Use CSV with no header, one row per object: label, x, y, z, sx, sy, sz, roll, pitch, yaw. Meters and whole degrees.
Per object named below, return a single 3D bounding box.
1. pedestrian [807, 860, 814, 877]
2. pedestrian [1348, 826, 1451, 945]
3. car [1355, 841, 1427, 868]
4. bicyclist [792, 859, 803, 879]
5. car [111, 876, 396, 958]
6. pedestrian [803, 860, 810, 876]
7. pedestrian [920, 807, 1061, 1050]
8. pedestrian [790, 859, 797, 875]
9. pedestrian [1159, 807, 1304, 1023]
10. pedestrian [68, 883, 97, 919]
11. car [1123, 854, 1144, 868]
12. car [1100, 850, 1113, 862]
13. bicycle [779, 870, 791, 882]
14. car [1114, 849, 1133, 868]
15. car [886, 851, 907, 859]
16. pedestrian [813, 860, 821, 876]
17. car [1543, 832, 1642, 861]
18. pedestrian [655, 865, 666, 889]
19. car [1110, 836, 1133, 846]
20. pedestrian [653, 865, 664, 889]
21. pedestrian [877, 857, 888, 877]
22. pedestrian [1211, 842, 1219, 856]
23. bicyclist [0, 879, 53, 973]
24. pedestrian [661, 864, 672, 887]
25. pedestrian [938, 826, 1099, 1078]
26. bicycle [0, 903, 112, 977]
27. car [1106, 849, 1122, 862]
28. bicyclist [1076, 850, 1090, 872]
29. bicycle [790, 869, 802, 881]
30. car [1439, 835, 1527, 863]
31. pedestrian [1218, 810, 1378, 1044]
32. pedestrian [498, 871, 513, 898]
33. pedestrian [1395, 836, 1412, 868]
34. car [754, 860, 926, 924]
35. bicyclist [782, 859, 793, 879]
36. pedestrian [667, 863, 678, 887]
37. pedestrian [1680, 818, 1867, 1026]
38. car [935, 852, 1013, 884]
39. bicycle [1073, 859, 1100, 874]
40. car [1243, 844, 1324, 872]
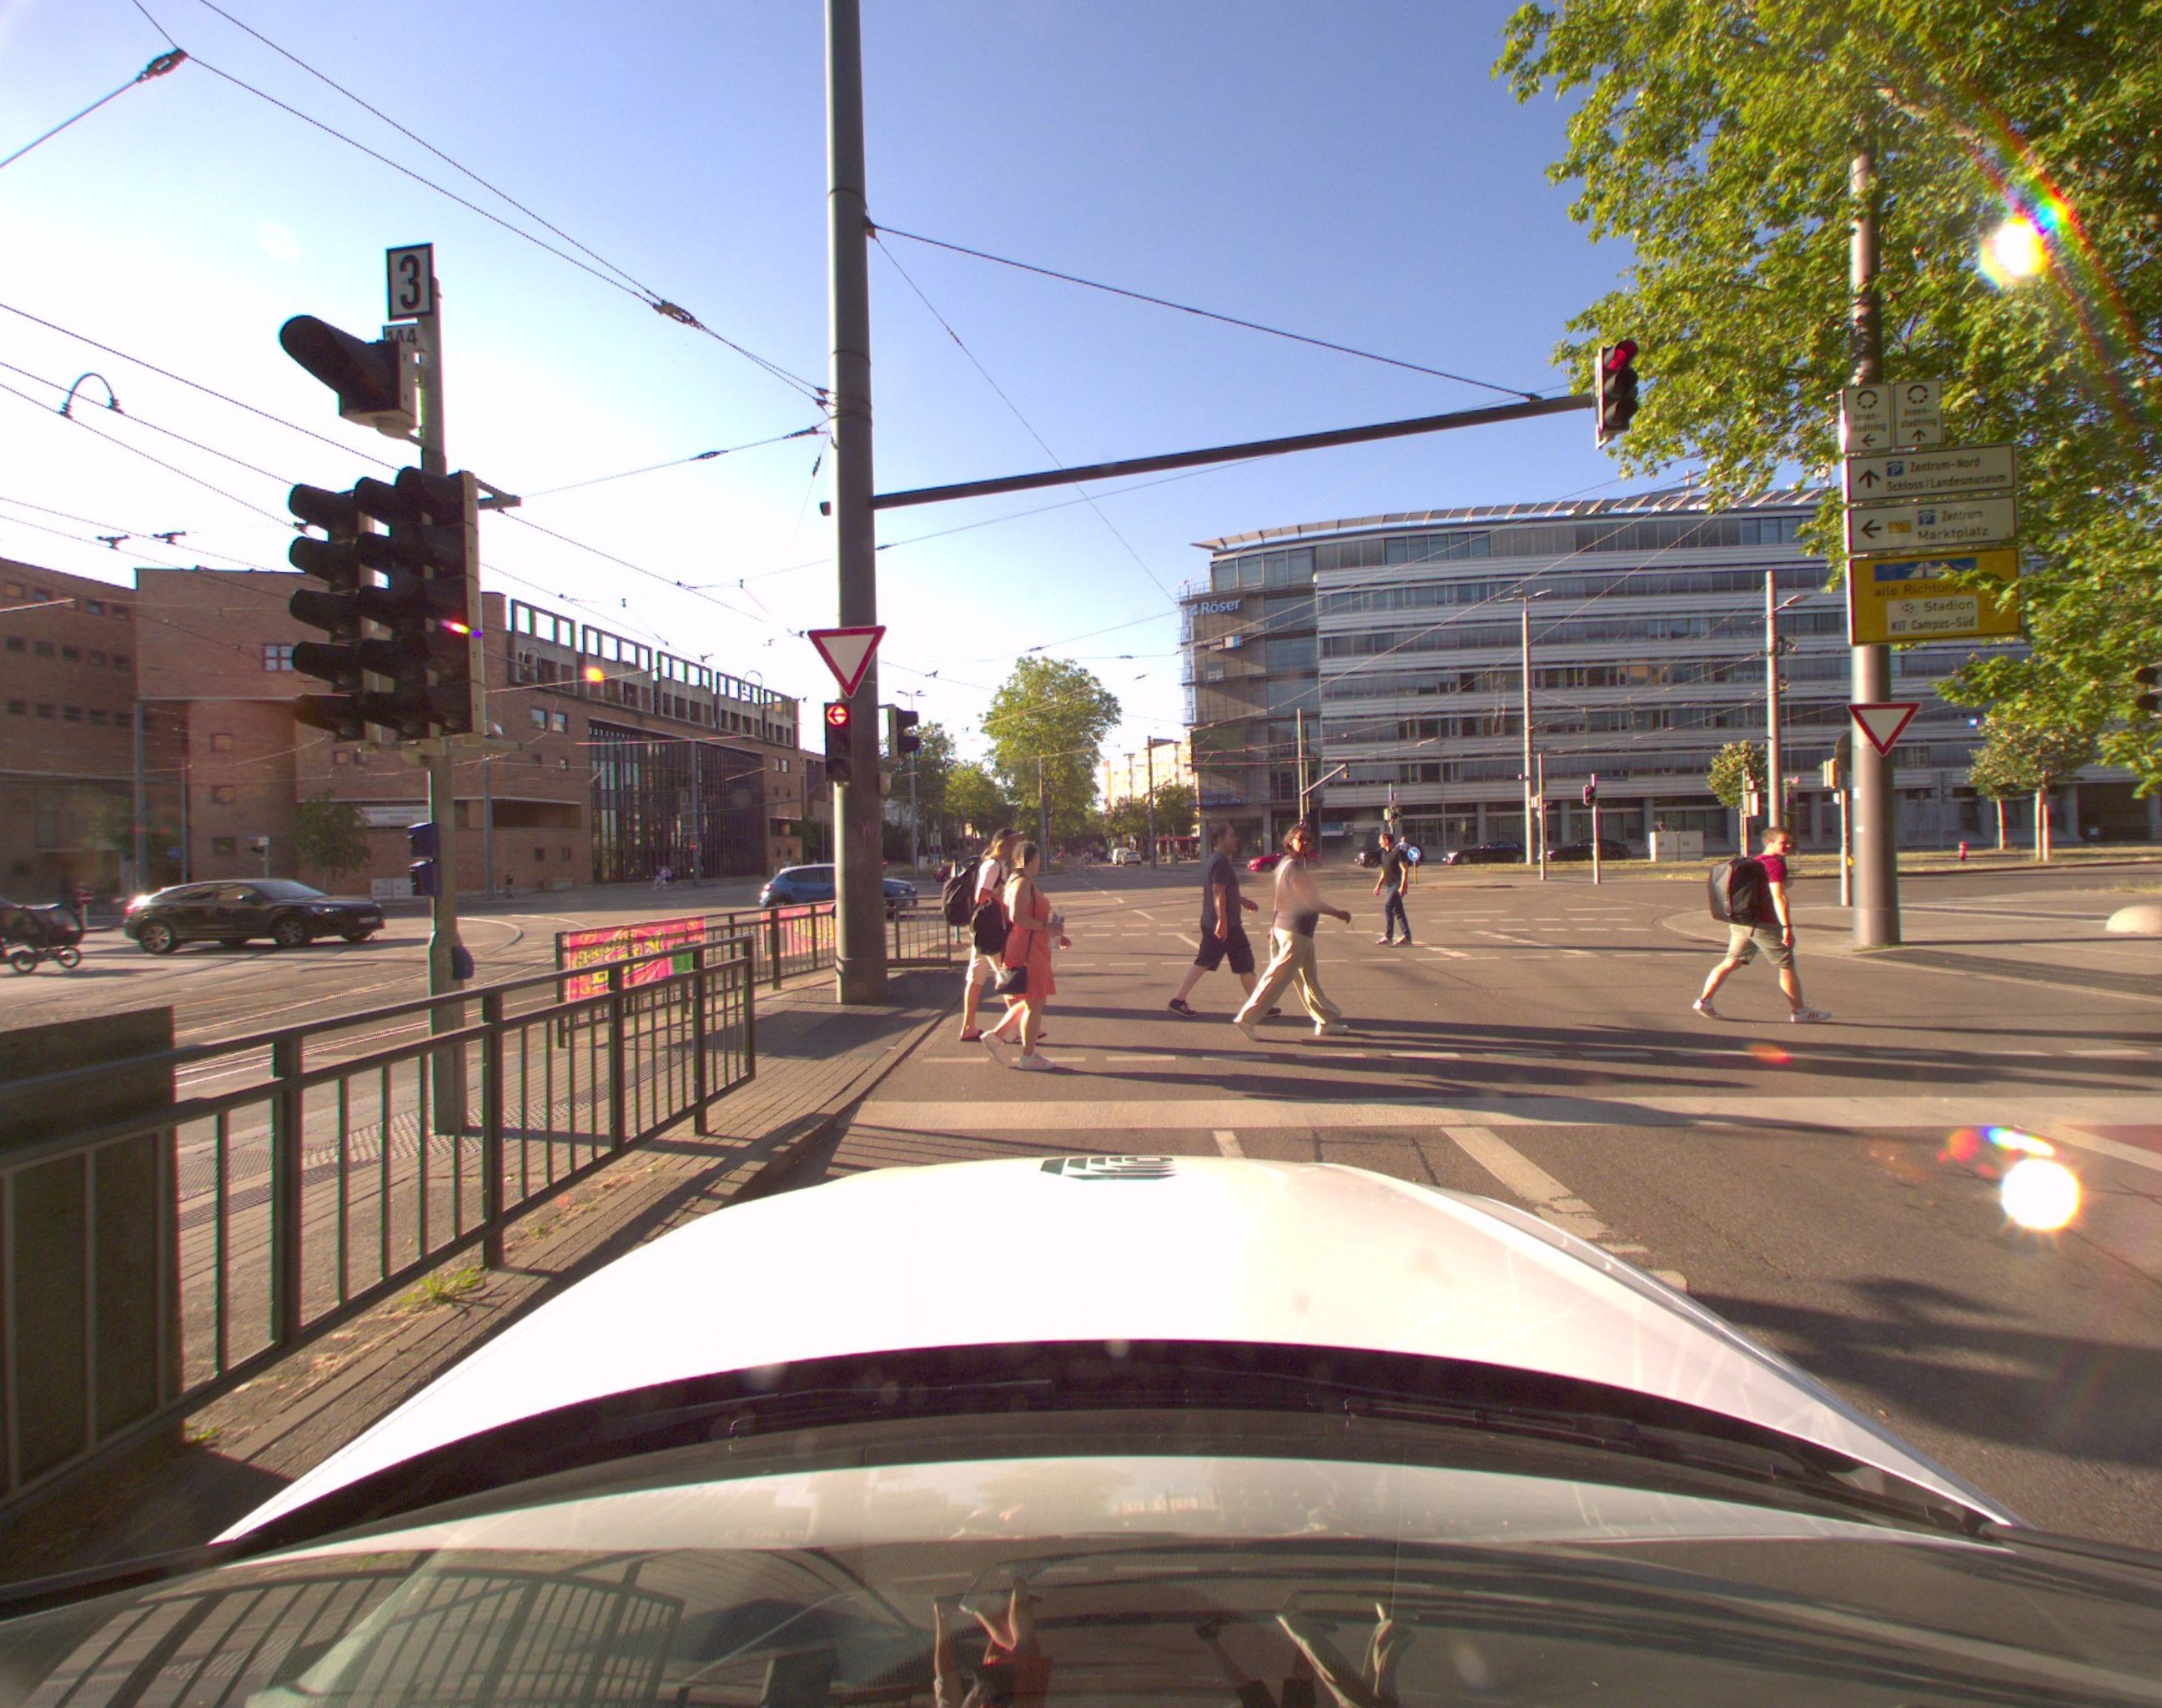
pedestrian,-29.668,1.579,89.356,0.519,1.779,0.547,-2,0,9
pedestrian,5.056,0.484,13.015,1.206,1.822,1.040,0,-1,-4
car,19.558,0.036,51.460,3.844,1.507,1.797,-2,0,3
bicyclist,-23.536,1.236,67.608,0.592,1.675,0.788,-2,0,-4
car,-18.643,1.391,18.509,4.469,1.583,1.824,-2,0,-2
pedestrian,-30.594,1.571,90.674,0.487,1.810,0.547,-2,0,9
pedestrian,-0.734,0.575,6.721,1.072,1.871,0.737,-1,-1,-6
pedestrian,-31.477,1.413,89.266,0.487,1.810,0.547,-2,0,9
pedestrian,1.380,0.533,7.643,1.143,1.893,0.831,-1,-1,-6
pedestrian,-45.826,2.141,37.382,0.542,1.613,0.613,0,1,-3
car,5.387,0.682,83.930,1.986,1.332,4.002,-2,0,2
car,4.052,0.297,127.864,1.986,1.662,4.002,-2,0,2
bicycle,-24.447,1.800,67.264,0.512,0.881,1.835,-2,0,-6
car,4.691,0.471,90.791,1.986,1.991,4.002,-2,0,2
car,-39.638,0.183,175.008,4.011,1.552,1.592,0,-1,-30
pedestrian,-29.426,1.566,90.677,0.637,1.810,0.547,-2,0,8
car,27.885,-0.410,44.482,4.219,1.392,1.799,-2,0,6
pedestrian,-30.295,1.660,58.632,0.538,1.650,0.622,-2,0,-17
car,7.098,-2.263,142.377,3.732,1.750,1.789,0,-1,16
pedestrian,-29.785,1.595,57.378,0.538,1.650,0.622,-2,0,-17
pedestrian,-15.531,1.022,63.785,0.753,1.530,0.507,-1,0,-6
pedestrian,14.396,-0.495,87.458,0.734,1.465,0.538,-2,0,11
bicyclist,-20.002,1.327,15.121,0.901,1.681,0.691,-2,0,0
pedestrian,-30.240,1.545,59.390,0.538,1.650,0.622,-2,0,-17
pedestrian,-0.451,0.655,5.897,1.071,1.682,0.756,-1,-1,-6
bicycle,-19.762,1.598,15.131,2.150,1.226,1.072,-2,1,0
car,4.322,0.202,106.126,1.986,1.662,4.002,-2,0,2
bicyclist,0.131,0.467,53.663,0.817,1.366,0.400,-2,0,-3
bicycle,-23.626,1.751,67.550,0.512,0.881,1.835,-2,0,-6
car,23.418,-0.274,47.602,4.219,1.434,1.799,-2,0,6
pedestrian,1.770,0.567,6.755,1.070,1.806,0.756,-1,-1,-6
pedestrian,-35.323,1.861,49.969,0.538,1.613,0.575,-2,0,33
pedestrian,17.174,-0.121,43.340,0.715,1.681,0.558,-1,0,9
car,-6.331,0.960,21.751,3.943,1.456,1.999,-2,0,-2
bicyclist,-24.303,1.238,67.371,0.592,1.675,0.788,-2,0,-4
pedestrian,-29.230,1.492,58.218,0.538,1.650,0.622,-2,0,-17
pedestrian,5.984,0.564,7.078,1.070,1.715,0.628,-1,-1,-2
car,-6.050,0.773,46.026,4.240,1.602,1.790,-2,0,-9
bicycle,0.332,0.837,53.674,1.737,0.899,0.408,-2,0,-3
car,11.791,0.229,47.534,4.230,1.392,1.794,-2,0,-3
